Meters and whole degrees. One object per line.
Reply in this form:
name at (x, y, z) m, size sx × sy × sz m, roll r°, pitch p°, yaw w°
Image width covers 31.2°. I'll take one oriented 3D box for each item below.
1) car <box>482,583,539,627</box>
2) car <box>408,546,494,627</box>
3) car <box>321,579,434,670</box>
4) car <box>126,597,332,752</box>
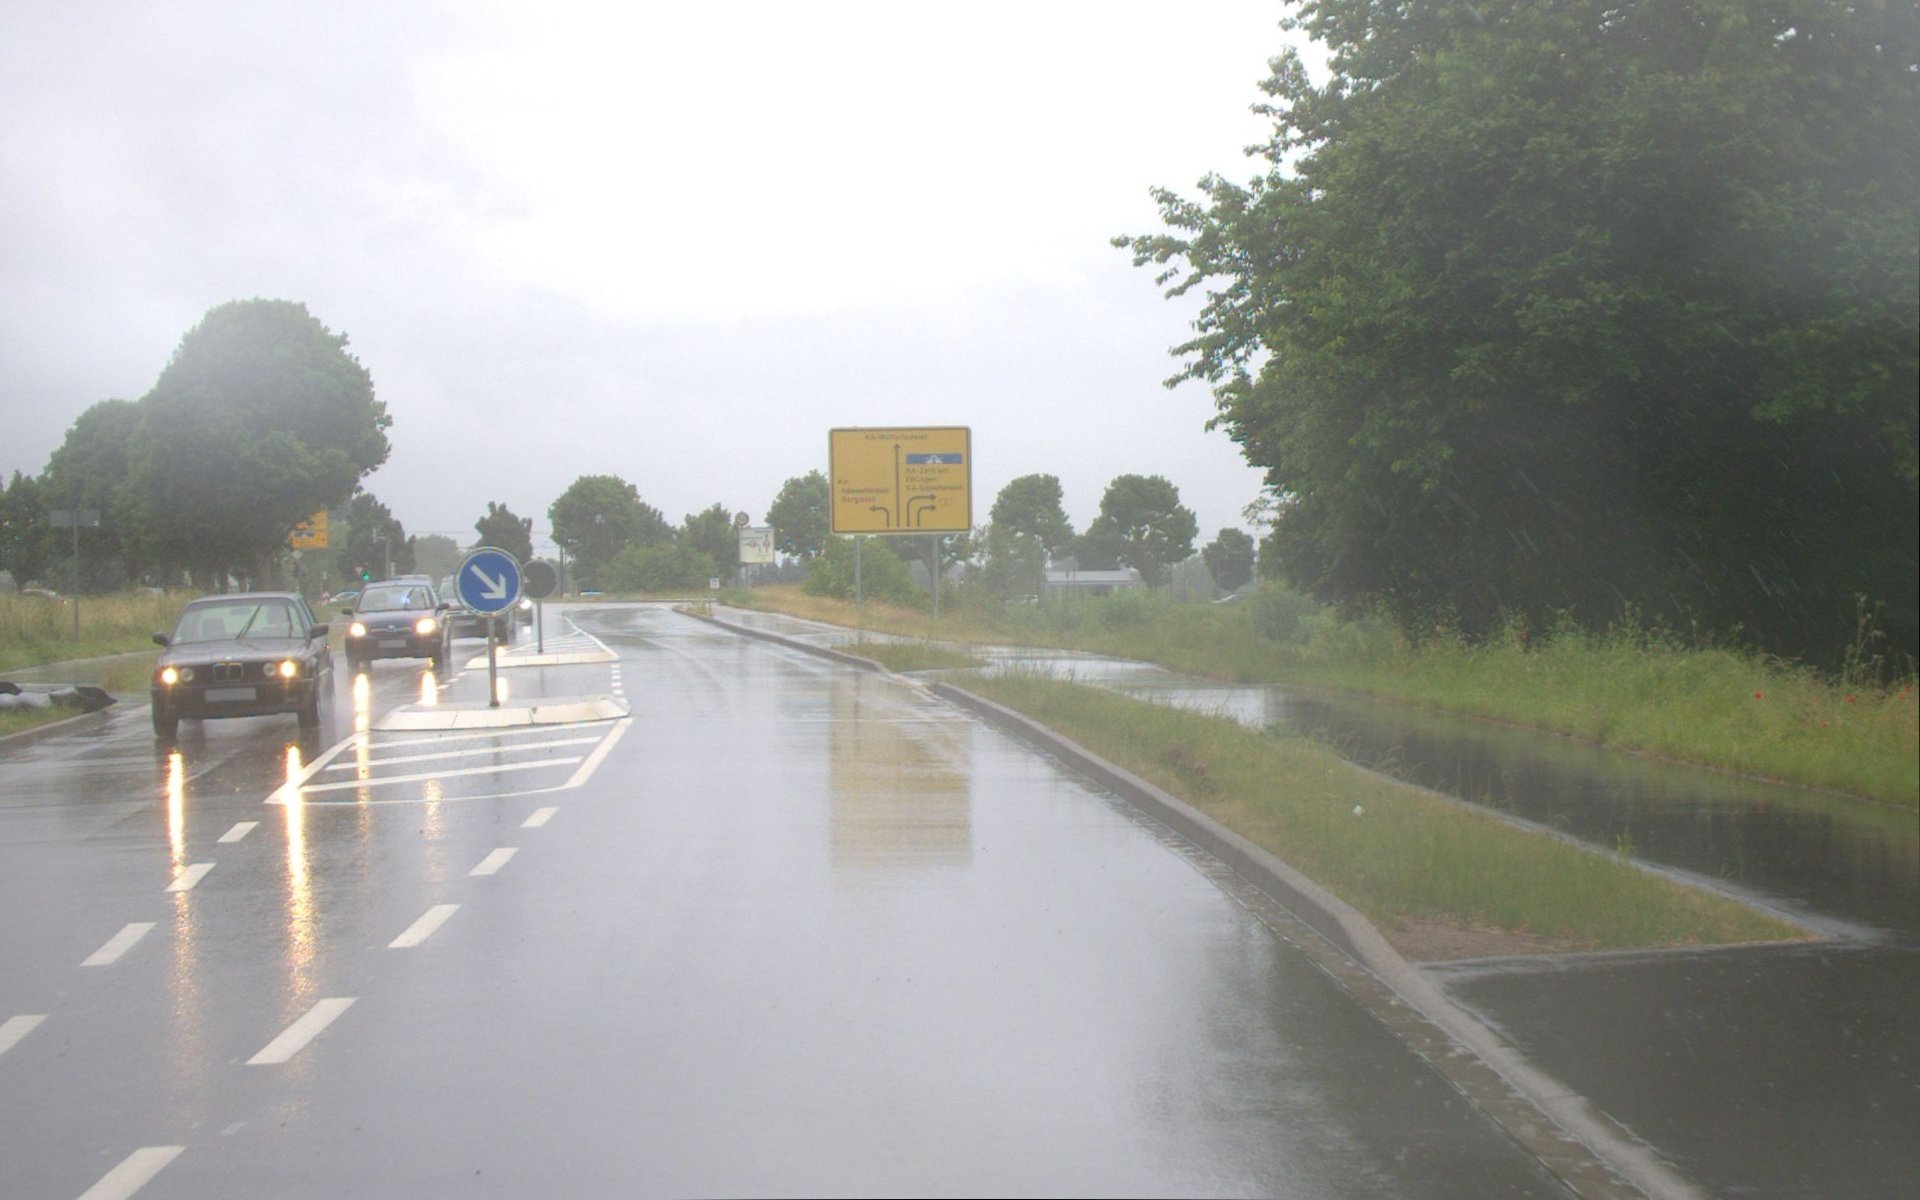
car at (-15.295, 0.153, 117.089) m, size 1.696 × 1.397 × 3.768 m, roll -3°, pitch 1°, yaw -5°
car at (-11.672, -0.314, 78.690) m, size 1.741 × 1.712 × 4.268 m, roll -3°, pitch 1°, yaw -10°
car at (-10.173, 0.405, 60.271) m, size 1.741 × 1.440 × 3.683 m, roll -3°, pitch 1°, yaw -7°
car at (-7.481, 0.722, 35.492) m, size 1.682 × 1.378 × 4.226 m, roll -3°, pitch 1°, yaw -7°
